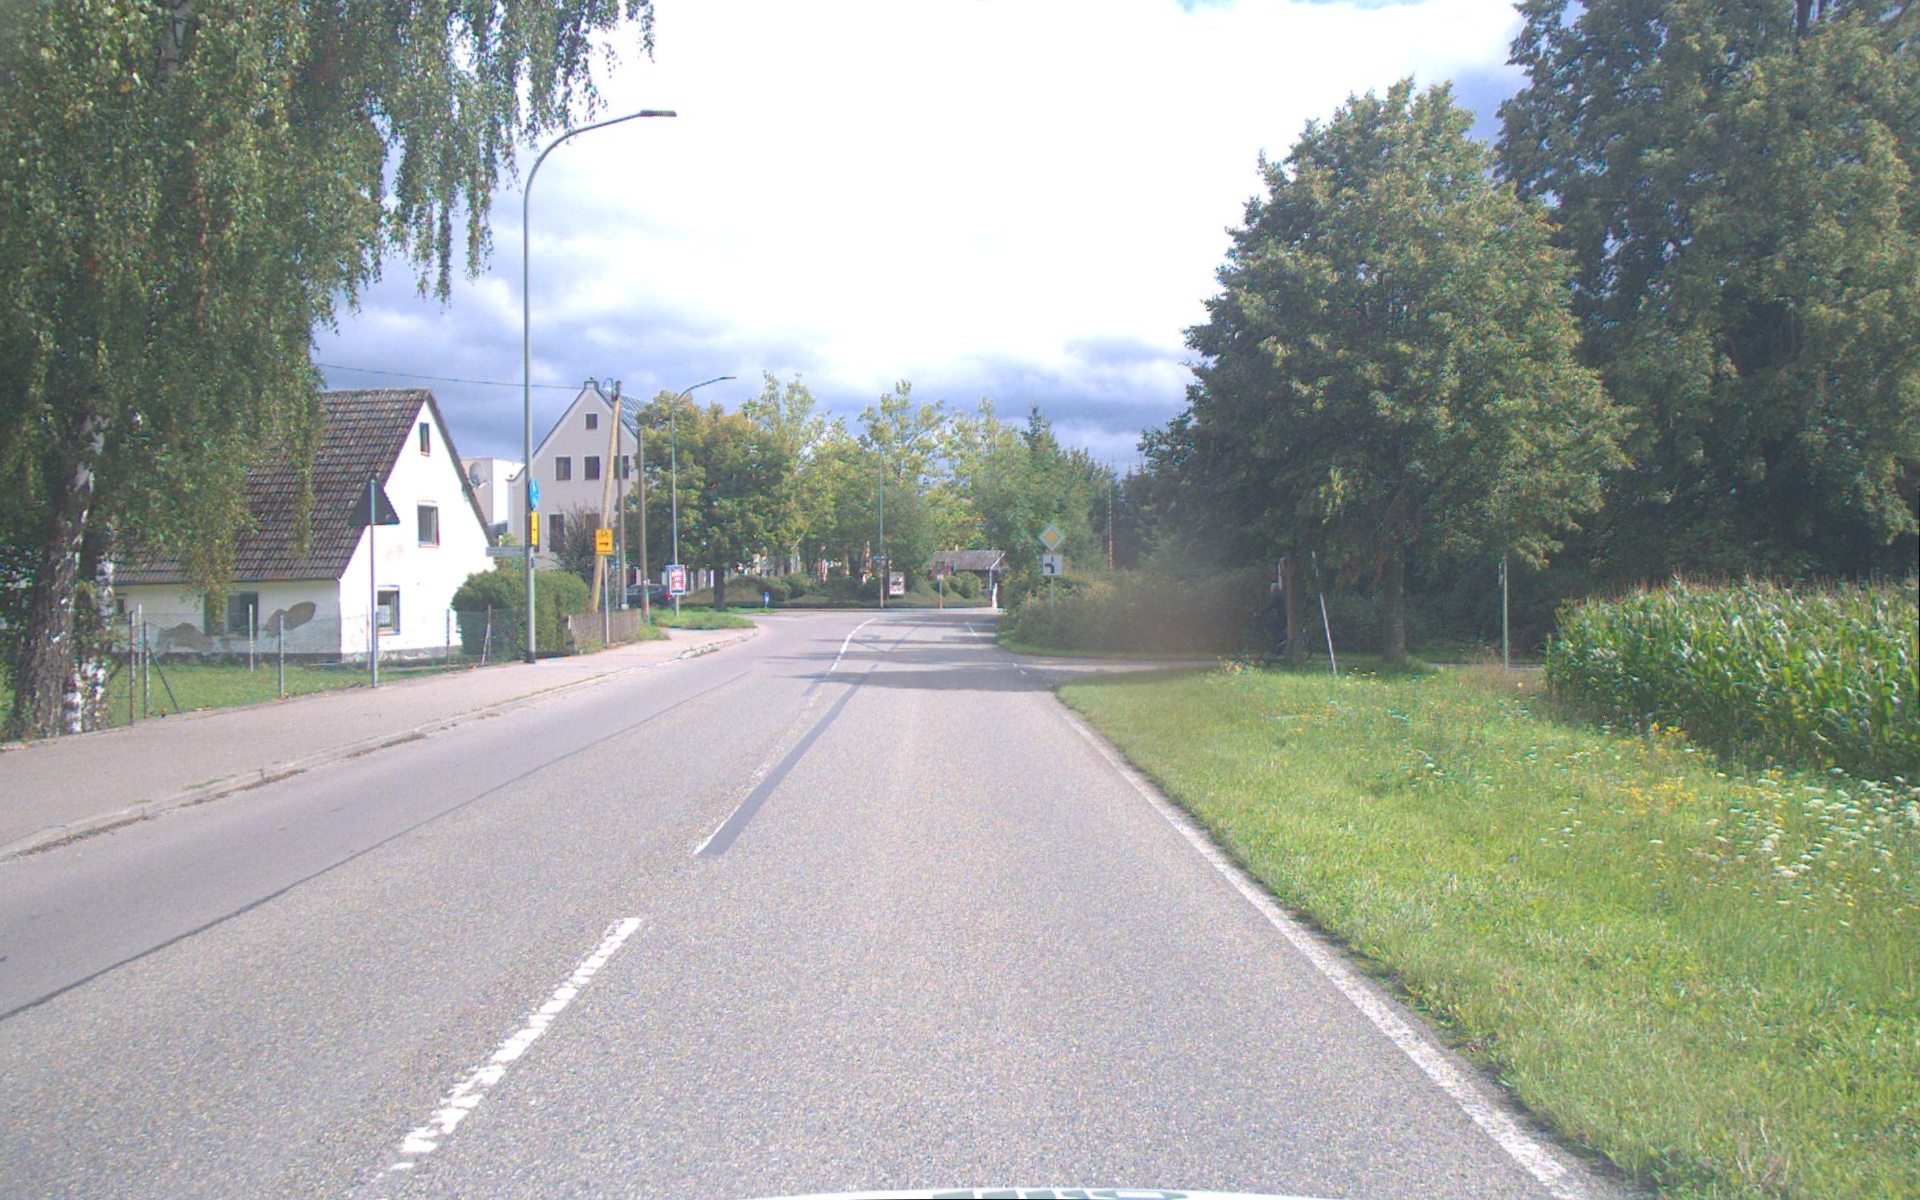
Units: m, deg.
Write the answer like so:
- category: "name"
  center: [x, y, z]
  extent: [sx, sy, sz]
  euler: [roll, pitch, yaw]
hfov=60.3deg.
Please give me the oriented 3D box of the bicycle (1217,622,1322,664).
- category: "bicycle"
  center: [6.949, 0.958, 37.160]
  extent: [2.081, 0.879, 1.050]
  euler: [0, 0, -16]

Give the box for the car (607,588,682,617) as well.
- category: "car"
  center: [-18.316, 0.126, 96.162]
  extent: [3.903, 1.612, 2.001]
  euler: [0, 1, 4]

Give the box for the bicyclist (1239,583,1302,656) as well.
- category: "bicyclist"
  center: [6.971, 0.433, 37.158]
  extent: [1.000, 1.613, 1.050]
  euler: [1, 0, -16]
